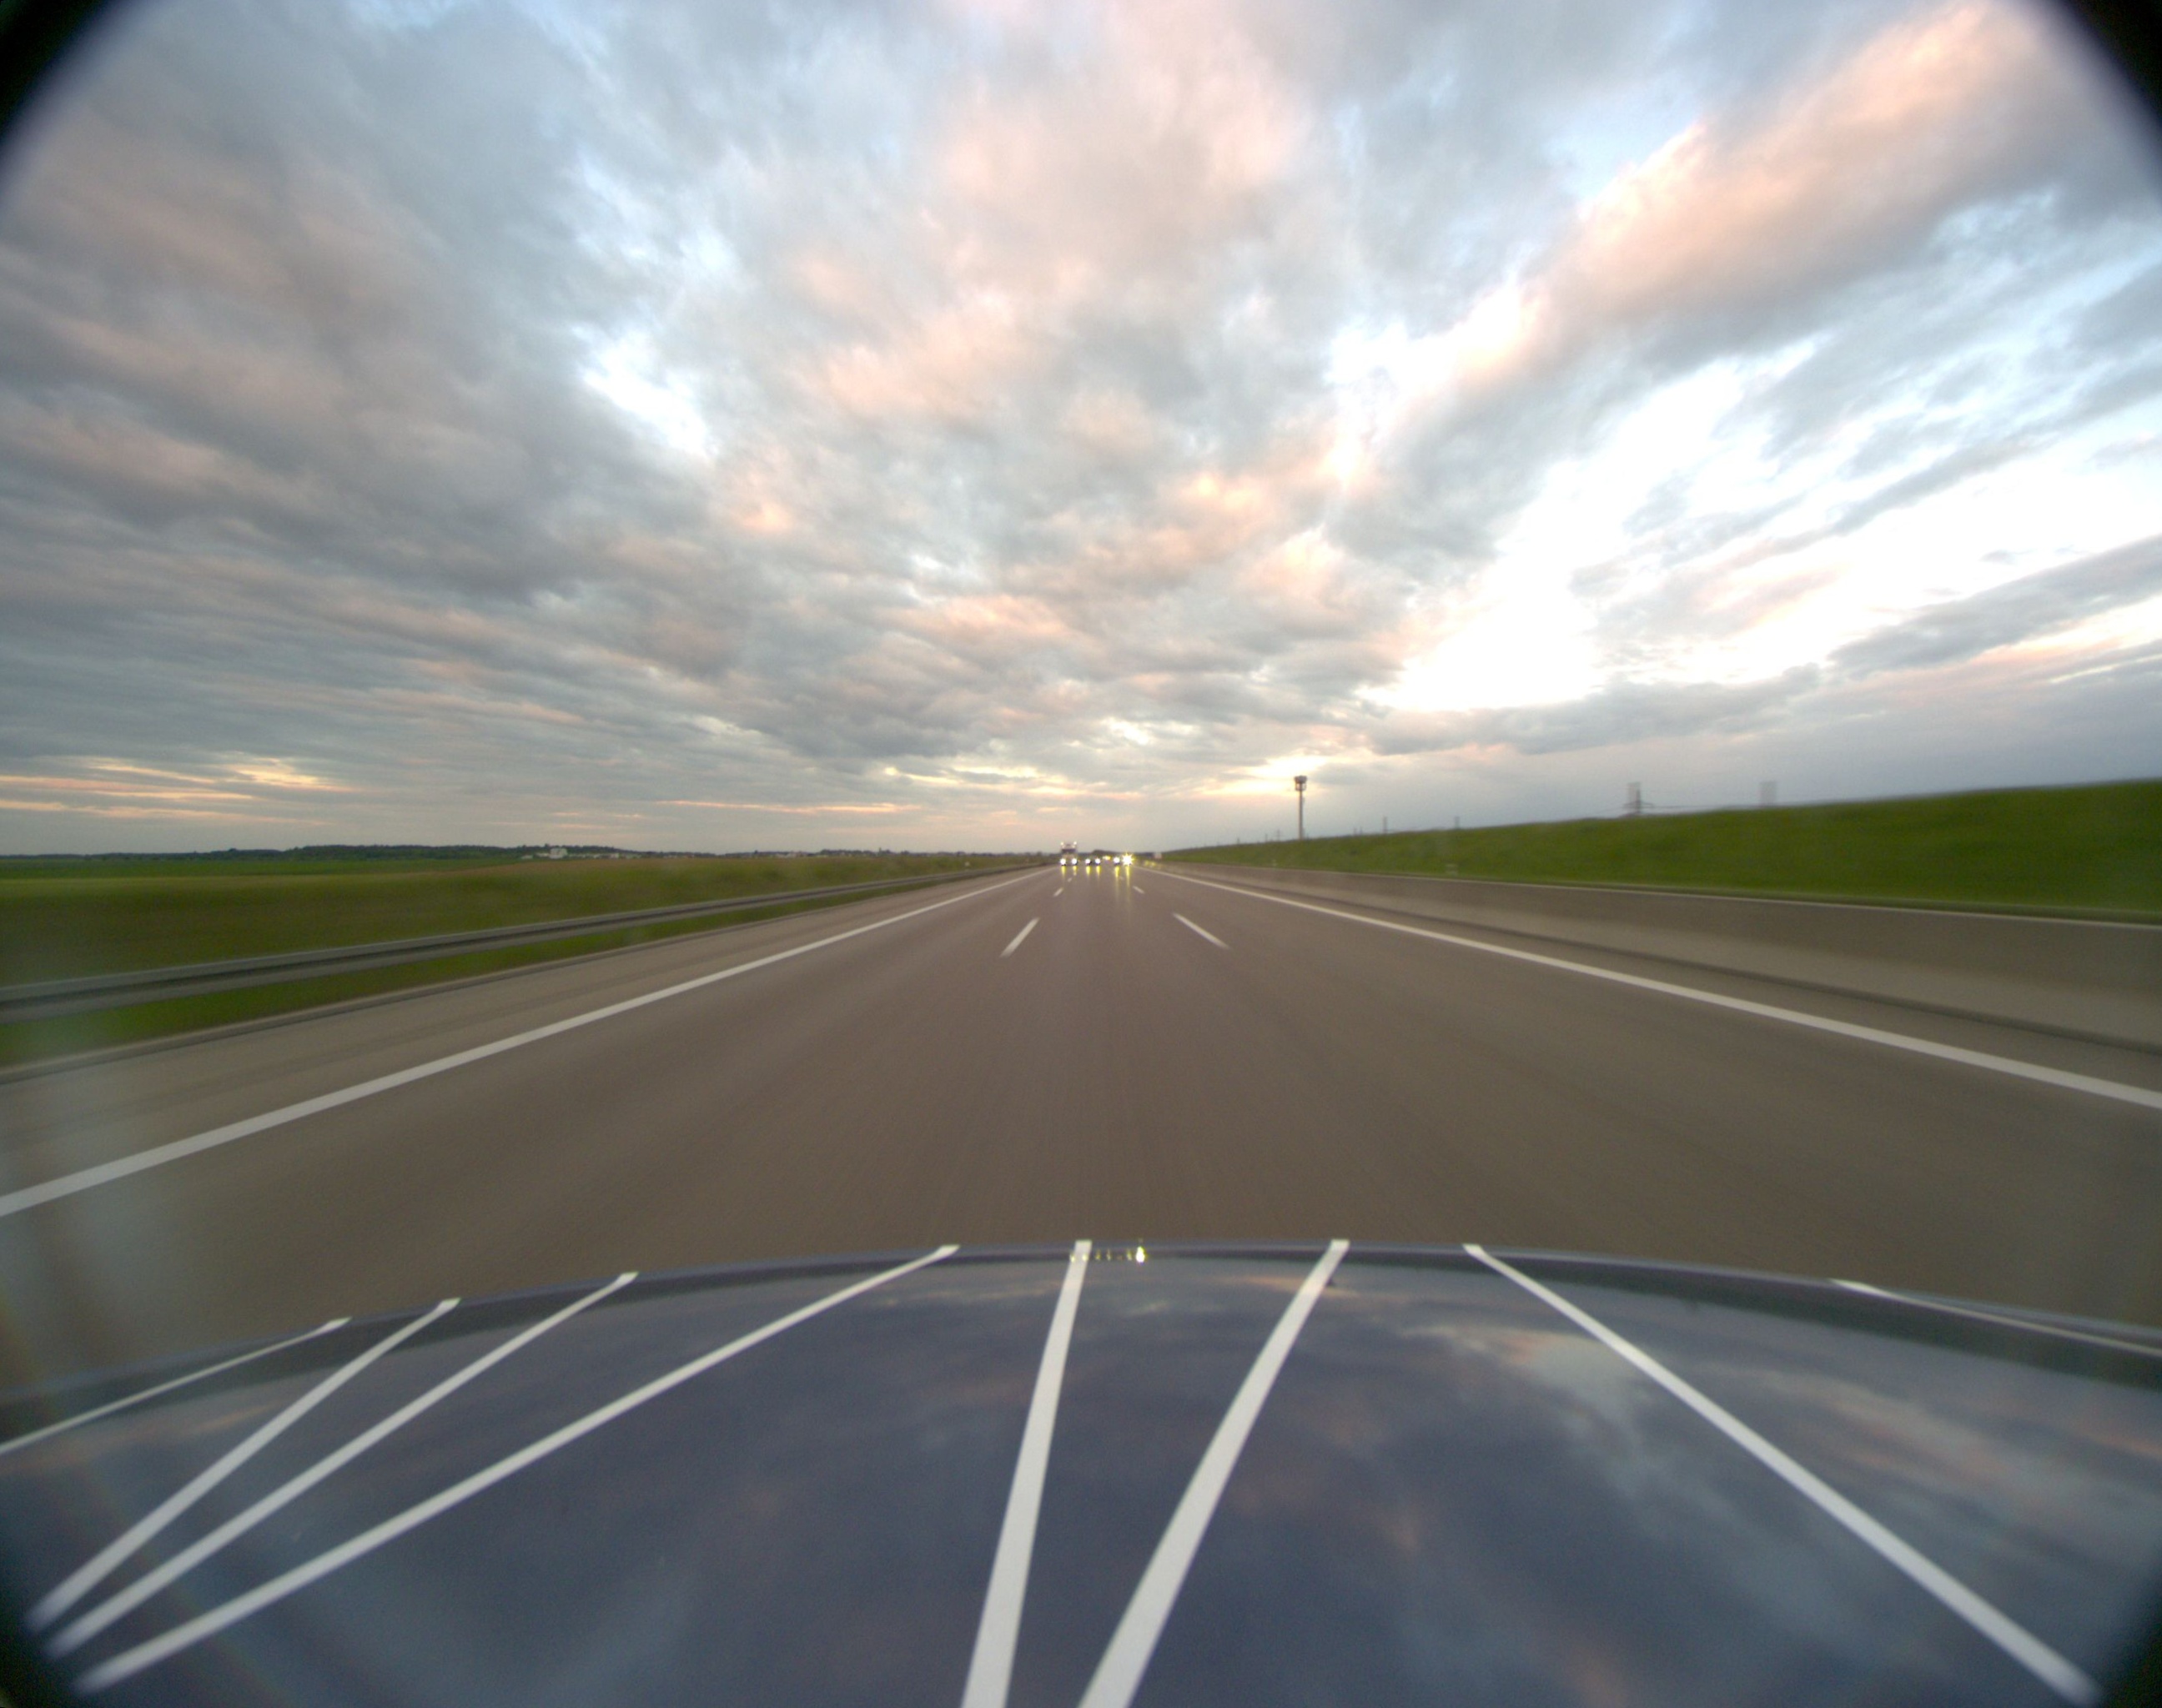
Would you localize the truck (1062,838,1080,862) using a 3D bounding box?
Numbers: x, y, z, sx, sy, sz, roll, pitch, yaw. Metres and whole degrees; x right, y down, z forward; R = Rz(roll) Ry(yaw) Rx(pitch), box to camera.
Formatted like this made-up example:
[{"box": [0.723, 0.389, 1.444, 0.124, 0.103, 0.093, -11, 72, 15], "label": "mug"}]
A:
[{"box": [-1.685, -0.678, 133.903, 2.596, 3.999, 5.861, -1, 0, 4], "label": "truck"}]

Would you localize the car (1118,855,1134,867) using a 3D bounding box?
[{"box": [6.363, 1.006, 108.198, 1.998, 1.652, 4.000, -3, 0, 1], "label": "car"}]

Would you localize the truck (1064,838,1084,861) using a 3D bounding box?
[{"box": [-1.235, -0.717, 140.320, 2.596, 3.999, 12.989, -1, 0, 4], "label": "truck"}]

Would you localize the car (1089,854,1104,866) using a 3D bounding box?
[{"box": [2.382, 0.819, 113.991, 1.998, 1.652, 4.852, -3, 0, 3], "label": "car"}]

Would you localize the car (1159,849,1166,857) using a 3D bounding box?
[{"box": [27.349, -0.241, 255.569, 1.998, 2.531, 7.379, 0, 0, 3], "label": "car"}]
